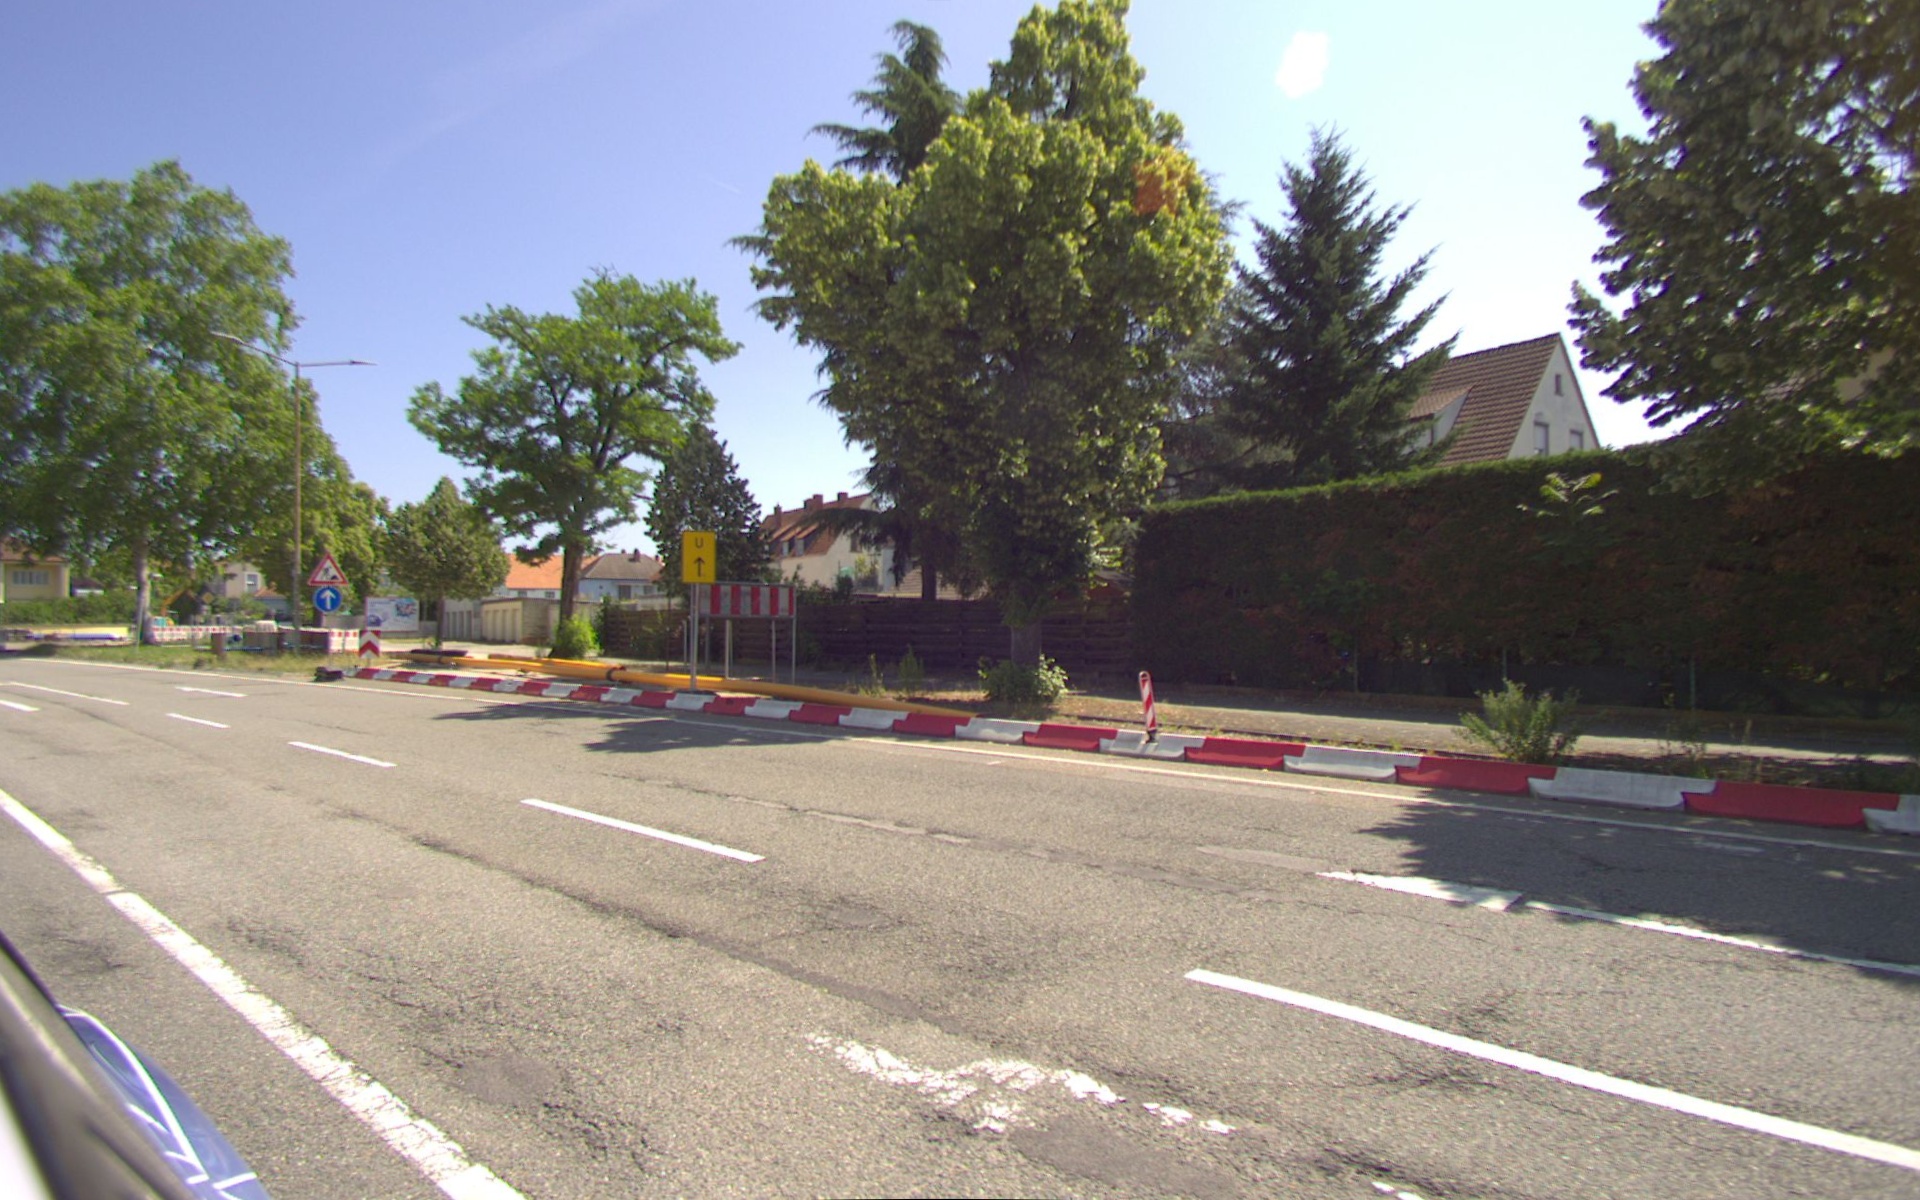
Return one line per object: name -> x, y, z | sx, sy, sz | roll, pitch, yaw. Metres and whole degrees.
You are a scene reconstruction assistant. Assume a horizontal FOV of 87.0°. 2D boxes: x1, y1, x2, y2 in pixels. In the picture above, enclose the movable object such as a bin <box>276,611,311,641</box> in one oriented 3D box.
movable object such as a bin -> -61.101, 2.385, 92.772 | 2.242, 2.756, 3.937 | 1, -2, -39
